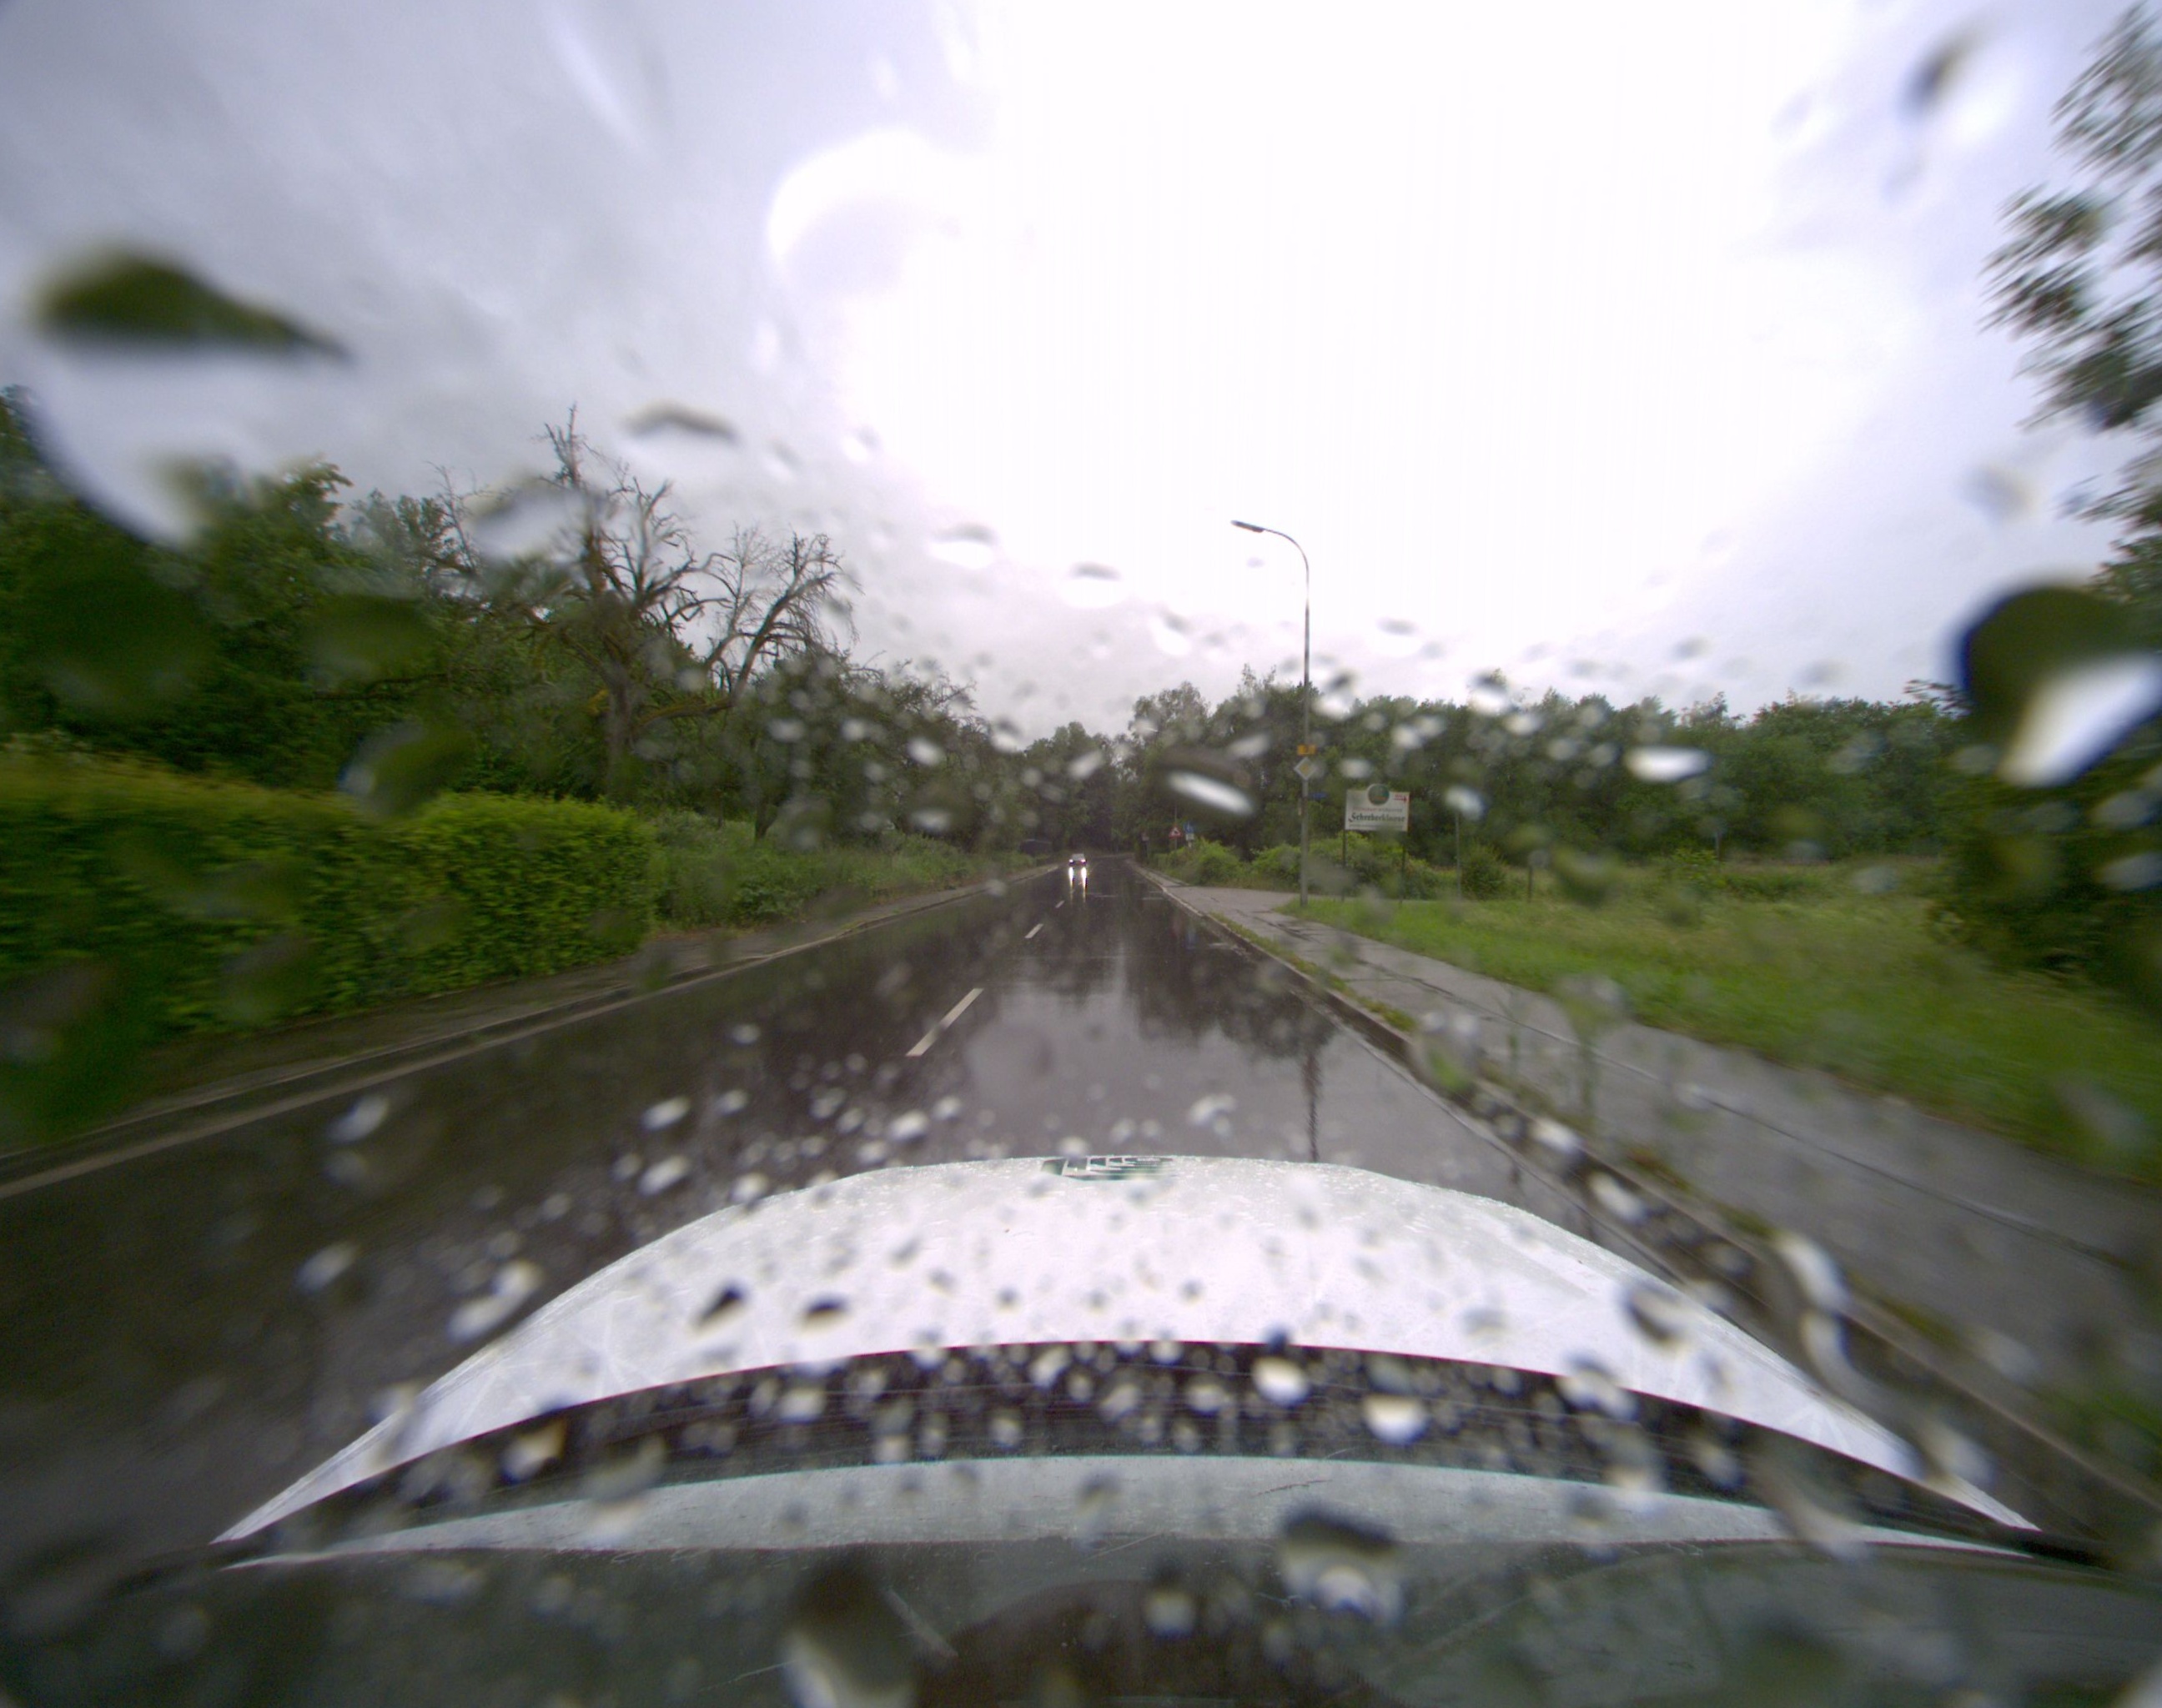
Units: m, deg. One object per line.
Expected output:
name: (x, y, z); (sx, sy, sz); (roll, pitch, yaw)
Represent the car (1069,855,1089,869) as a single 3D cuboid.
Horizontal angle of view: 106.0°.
car: (-0.201, 0.834, 90.919); (1.986, 1.454, 4.430); (0, 1, 2)
